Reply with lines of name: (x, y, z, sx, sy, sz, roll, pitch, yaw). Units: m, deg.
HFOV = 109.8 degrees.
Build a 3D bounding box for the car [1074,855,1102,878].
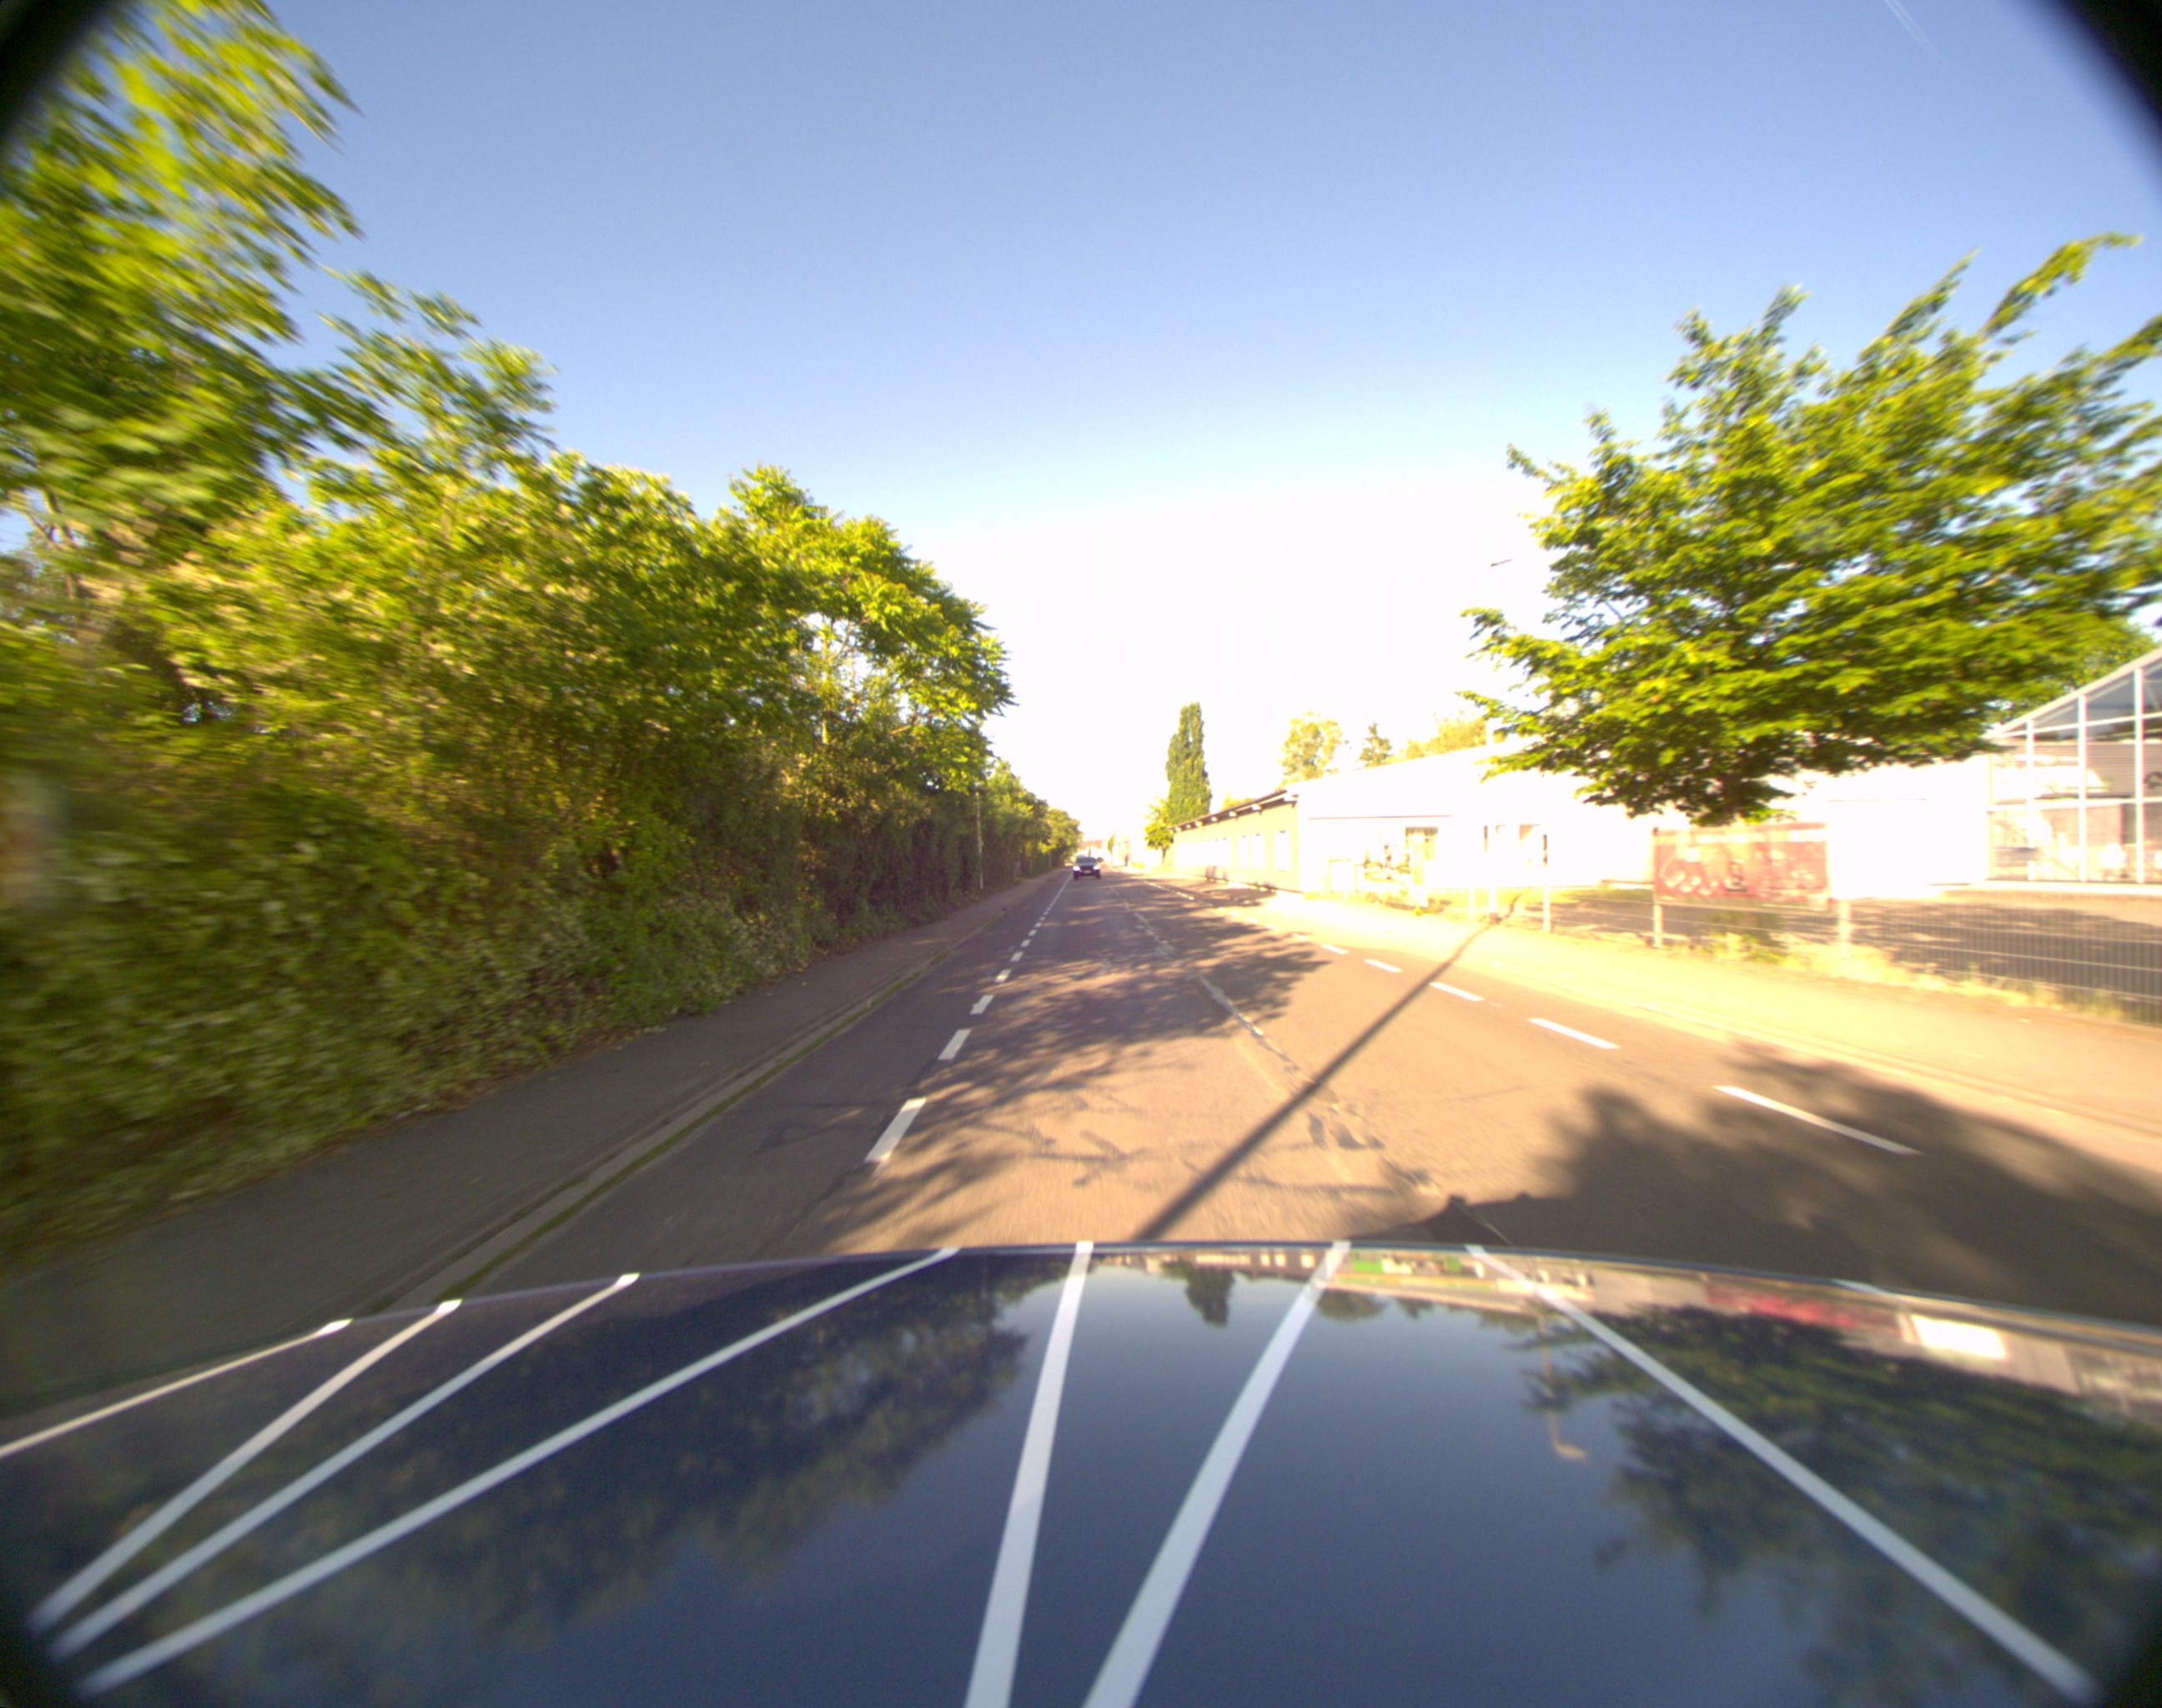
car: (0.488, 0.905, 56.135, 1.999, 1.608, 3.999, 0, 0, -1)
